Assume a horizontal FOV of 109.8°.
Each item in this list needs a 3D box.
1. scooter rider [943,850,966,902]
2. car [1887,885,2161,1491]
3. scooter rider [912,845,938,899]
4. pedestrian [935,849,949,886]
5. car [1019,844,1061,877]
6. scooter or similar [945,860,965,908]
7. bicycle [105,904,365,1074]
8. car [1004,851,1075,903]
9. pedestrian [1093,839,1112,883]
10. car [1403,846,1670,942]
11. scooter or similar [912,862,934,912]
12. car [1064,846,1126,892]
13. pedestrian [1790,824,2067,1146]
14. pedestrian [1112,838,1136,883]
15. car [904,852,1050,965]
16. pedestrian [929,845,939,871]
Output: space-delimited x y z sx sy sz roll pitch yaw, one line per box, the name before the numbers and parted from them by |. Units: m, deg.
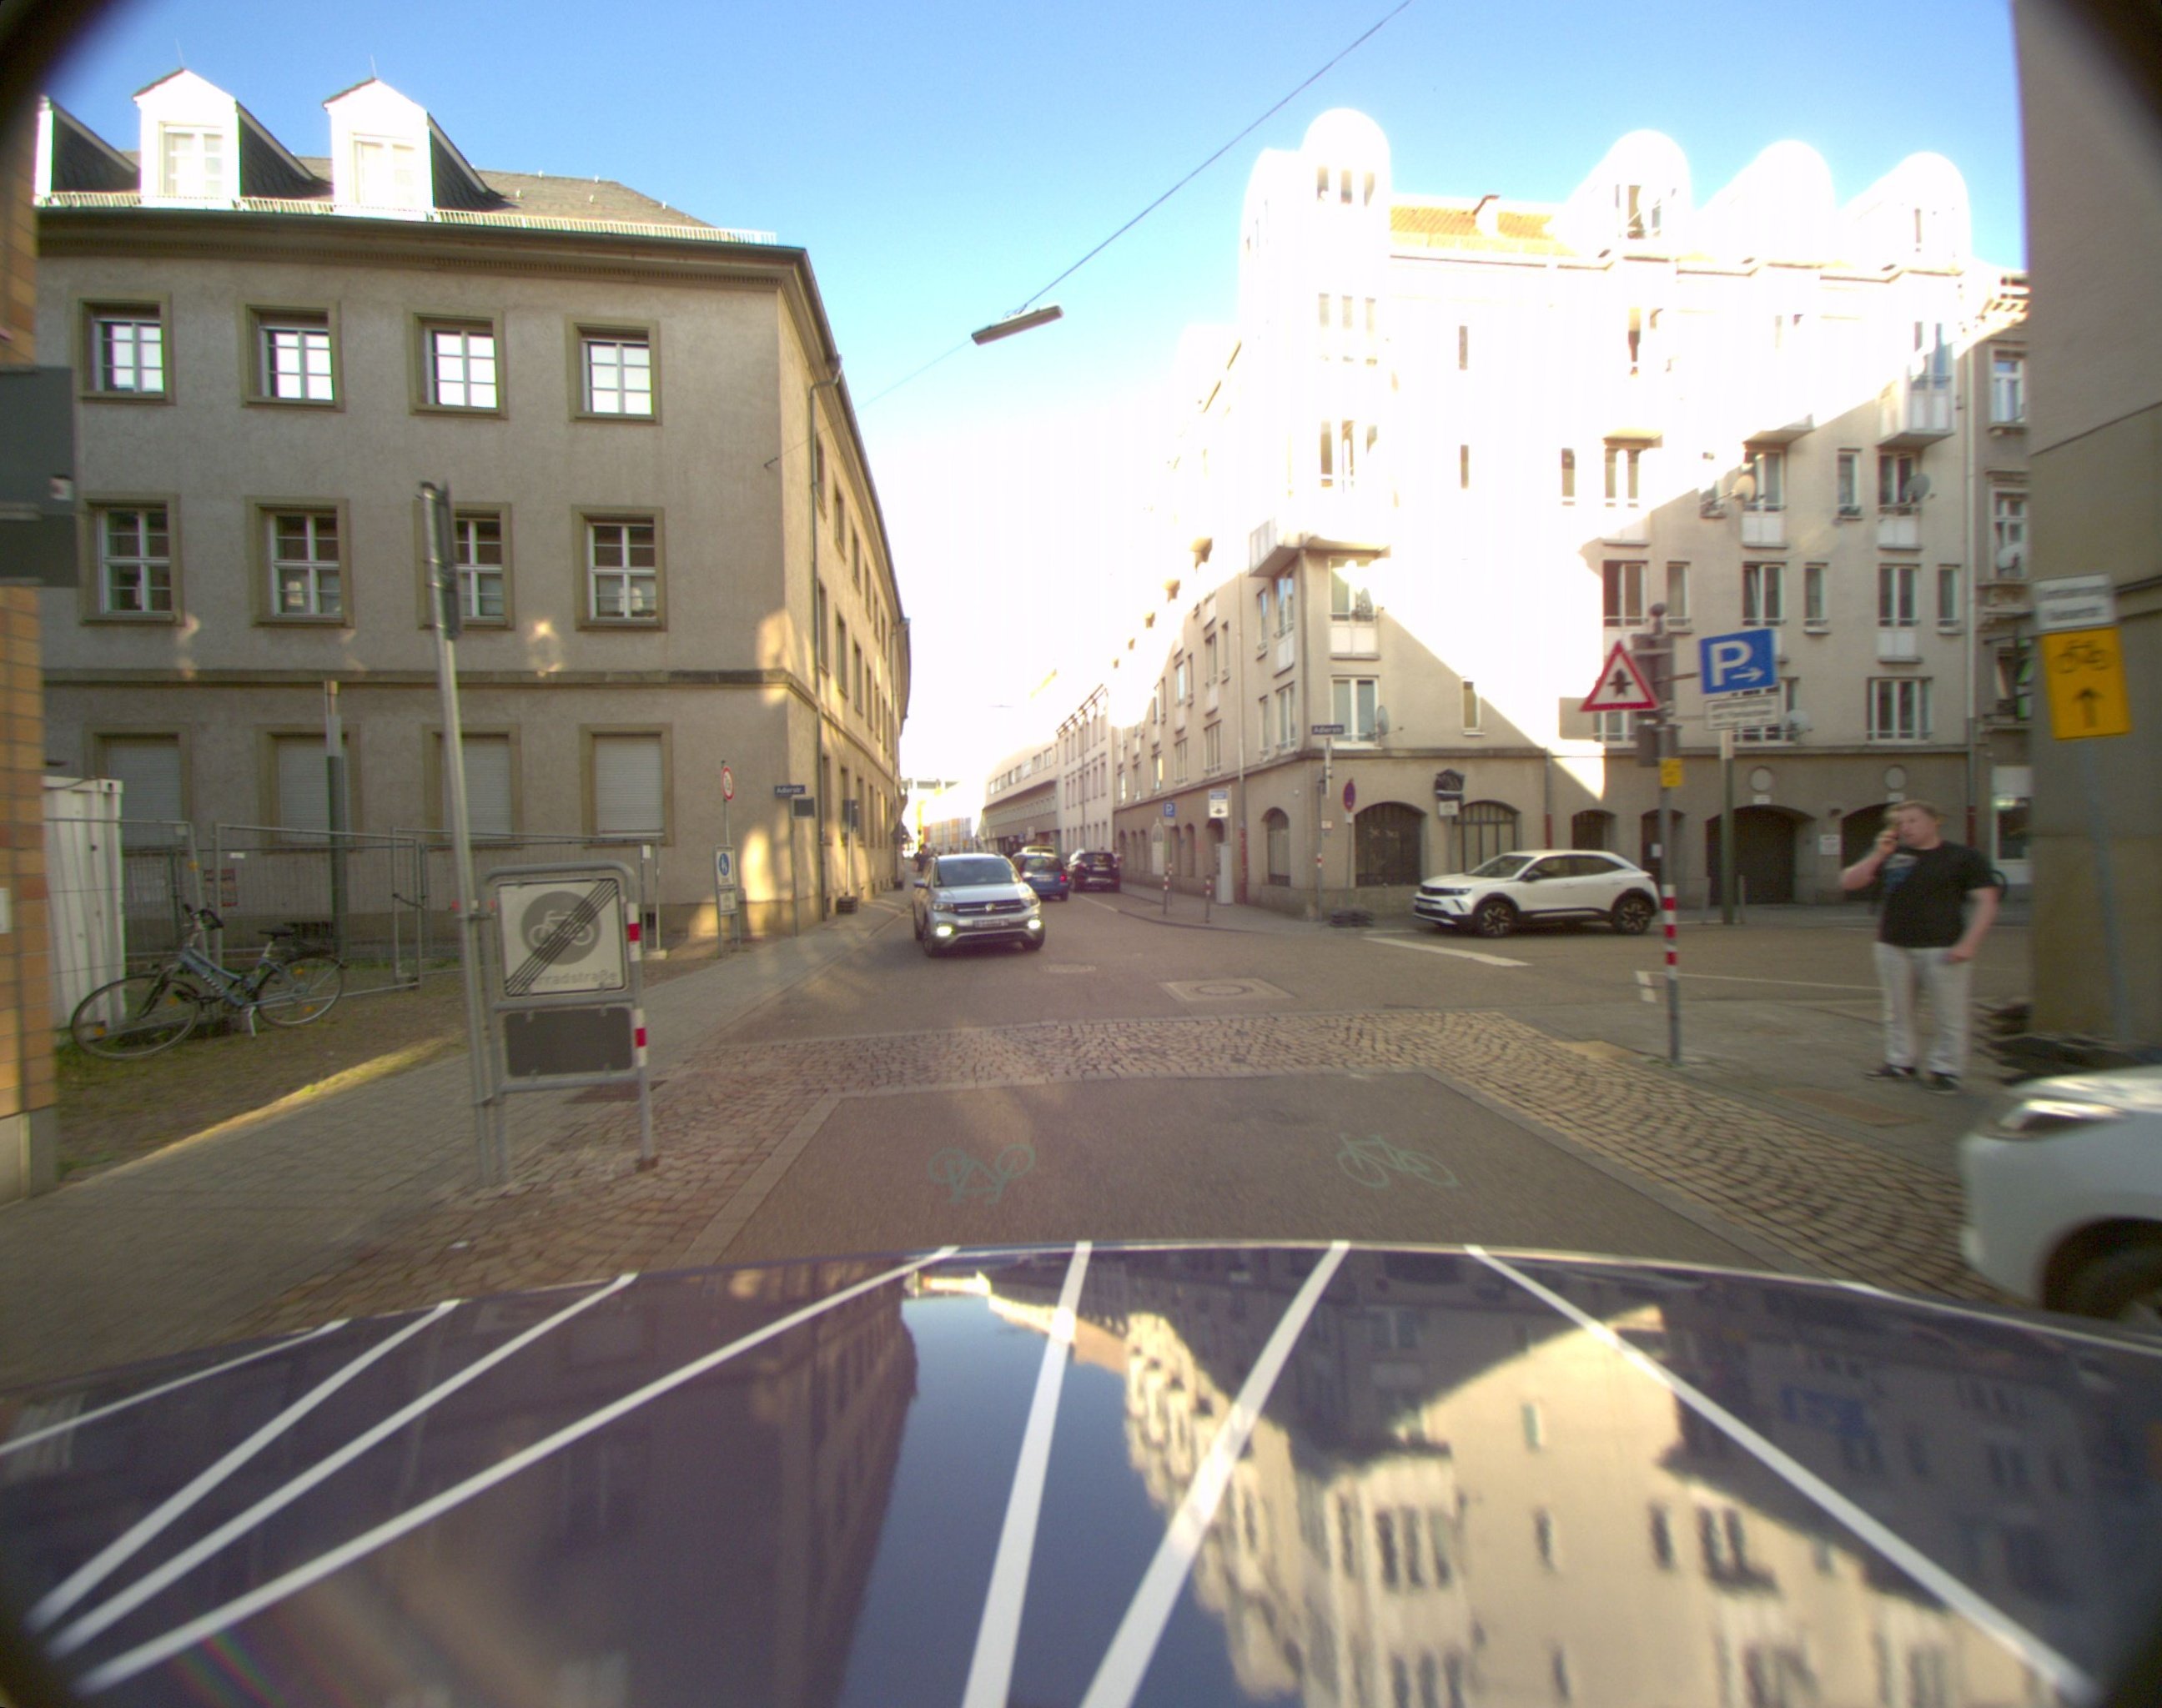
scooter rider | -3.836 0.652 23.050 0.592 1.500 0.599 -4 2 -9
car | 3.692 0.858 0.677 1.742 1.484 3.797 0 0 -6
scooter rider | -4.702 0.526 22.974 0.648 1.585 0.599 -4 2 -9
pedestrian | -7.684 0.716 42.029 0.716 2.002 0.698 -2 1 -10
car | -2.573 0.348 47.020 1.890 1.863 3.995 -3 1 -12
scooter or similar | -3.827 0.885 23.084 0.550 1.388 1.554 -1 1 -9
bicycle | -7.548 1.142 6.895 0.319 1.243 1.584 -2 1 12
car | -1.486 0.748 25.581 1.857 1.583 3.803 -1 -1 -11
pedestrian | 1.005 0.319 35.073 0.716 2.002 0.698 -2 1 -10
car | 8.367 0.695 14.199 3.967 1.584 1.742 -1 2 -2
scooter or similar | -4.696 0.962 22.675 0.524 1.388 1.554 -1 1 -9
car | 0.494 0.560 30.847 1.889 1.694 3.997 1 0 -7
pedestrian | 5.177 0.744 4.702 0.861 1.844 0.715 0 2 -3
pedestrian | 1.950 0.287 34.479 0.938 2.002 0.698 -2 1 -10
car | -1.918 0.767 12.873 1.765 1.537 3.994 -2 1 -17
pedestrian | -11.532 0.343 59.635 0.716 2.002 0.698 -2 1 -10
